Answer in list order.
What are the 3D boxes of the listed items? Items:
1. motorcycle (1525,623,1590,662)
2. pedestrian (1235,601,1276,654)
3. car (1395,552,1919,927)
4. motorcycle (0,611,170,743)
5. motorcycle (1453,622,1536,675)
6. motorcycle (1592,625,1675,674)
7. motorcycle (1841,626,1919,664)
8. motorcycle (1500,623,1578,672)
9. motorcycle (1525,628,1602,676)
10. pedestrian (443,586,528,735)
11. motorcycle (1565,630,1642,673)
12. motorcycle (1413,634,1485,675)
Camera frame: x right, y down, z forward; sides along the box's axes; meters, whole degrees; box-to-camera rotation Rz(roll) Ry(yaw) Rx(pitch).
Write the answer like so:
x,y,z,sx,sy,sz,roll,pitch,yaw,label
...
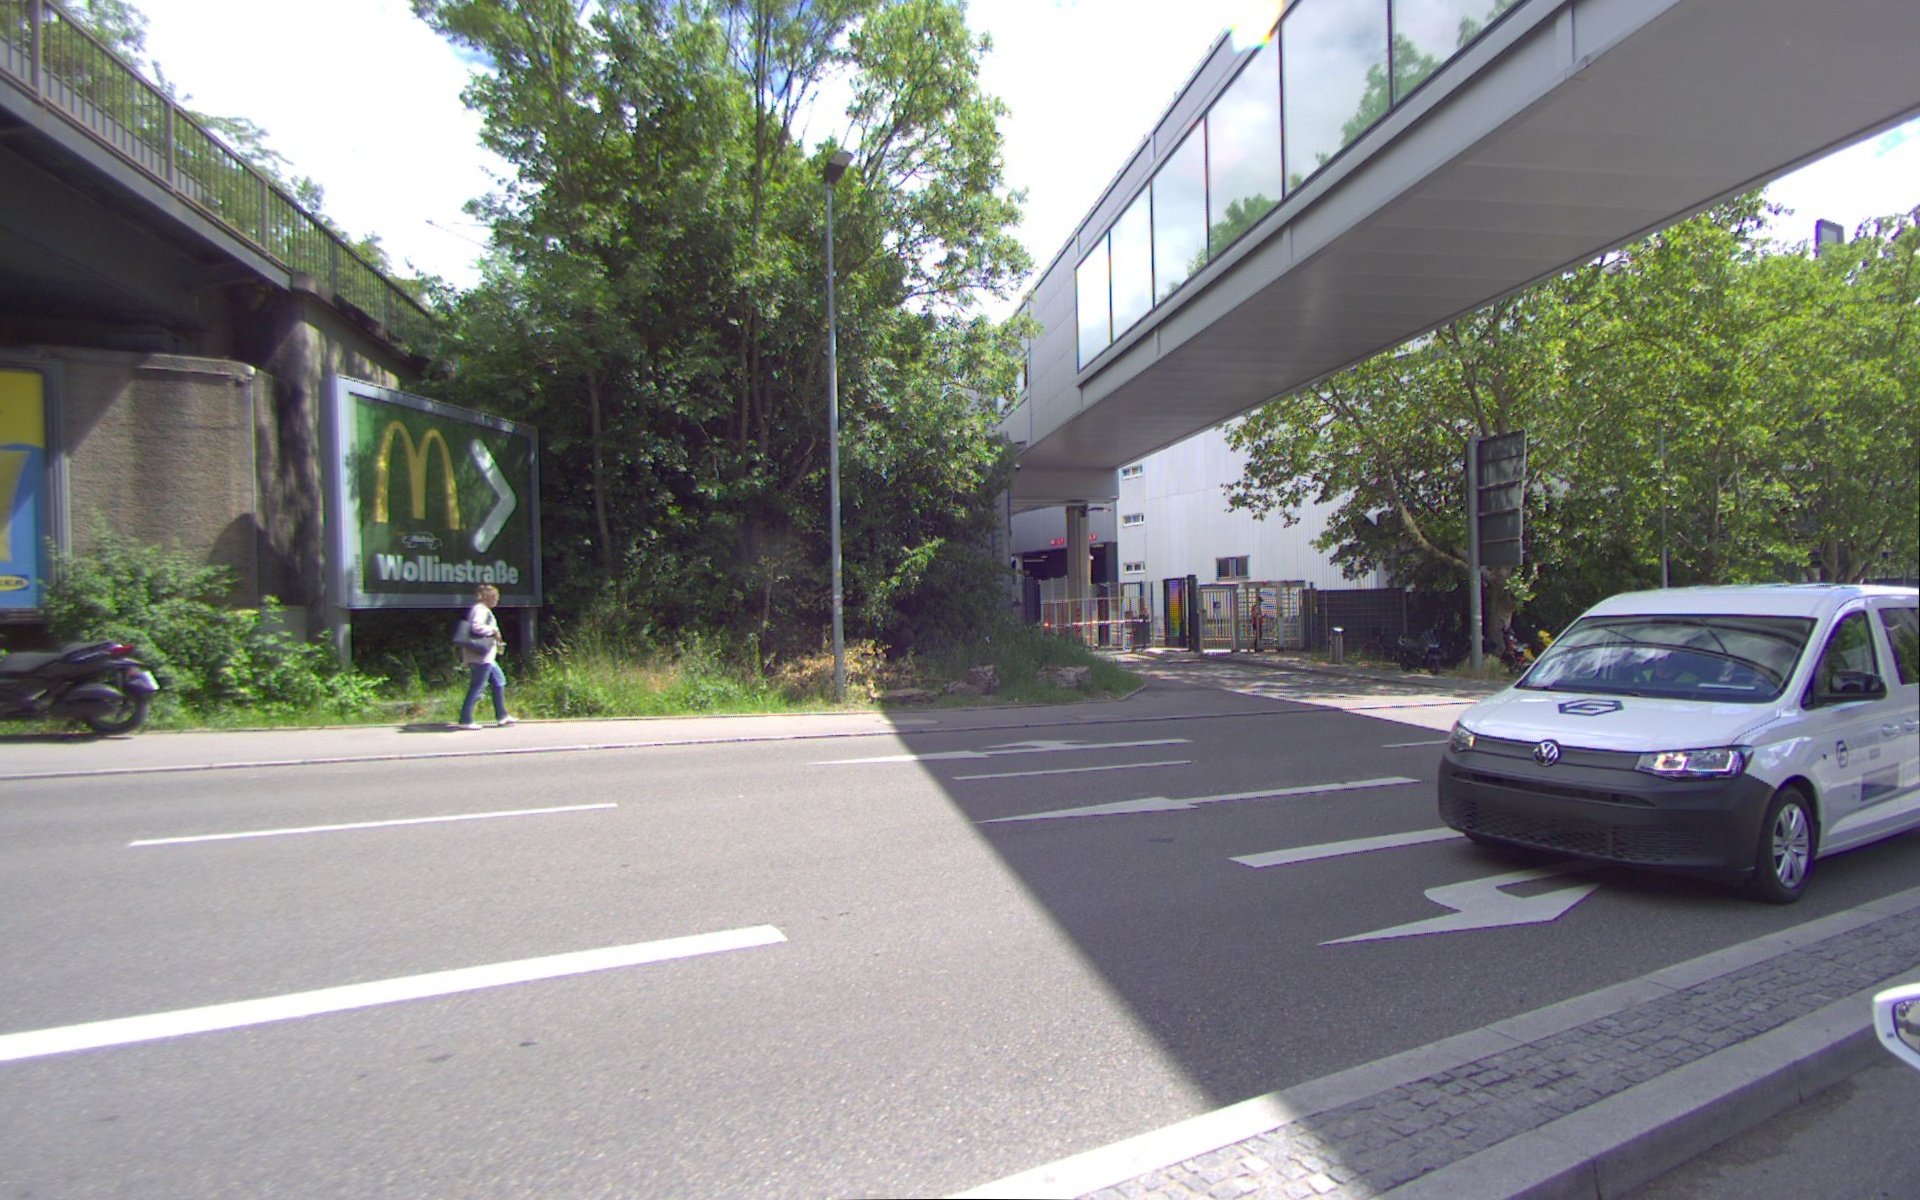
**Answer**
x,y,z,sx,sy,sz,roll,pitch,yaw,label
19.449,1.381,32.767,0.903,1.131,1.937,0,2,-2,motorcycle
9.756,0.892,33.148,0.879,1.724,0.971,1,-1,-44,pedestrian
5.324,0.720,6.903,4.921,1.804,1.799,1,-1,-32,car
-9.143,0.731,9.733,2.231,1.214,0.636,2,1,-31,motorcycle
13.257,1.184,24.957,0.764,1.187,1.739,-1,2,-20,motorcycle
18.524,1.340,27.653,0.846,1.195,1.731,-1,2,-40,motorcycle
32.280,1.574,35.276,0.734,1.189,1.875,-1,2,-19,motorcycle
15.058,1.213,26.131,0.769,1.138,1.579,-1,2,-38,motorcycle
16.049,1.363,26.730,0.766,1.138,1.584,-1,2,-27,motorcycle
-5.483,0.668,11.583,0.804,1.633,0.764,1,2,-30,pedestrian
17.445,1.374,27.249,0.766,1.047,1.584,-1,2,-27,motorcycle
12.142,1.340,24.997,0.762,0.880,1.745,0,2,-9,motorcycle
